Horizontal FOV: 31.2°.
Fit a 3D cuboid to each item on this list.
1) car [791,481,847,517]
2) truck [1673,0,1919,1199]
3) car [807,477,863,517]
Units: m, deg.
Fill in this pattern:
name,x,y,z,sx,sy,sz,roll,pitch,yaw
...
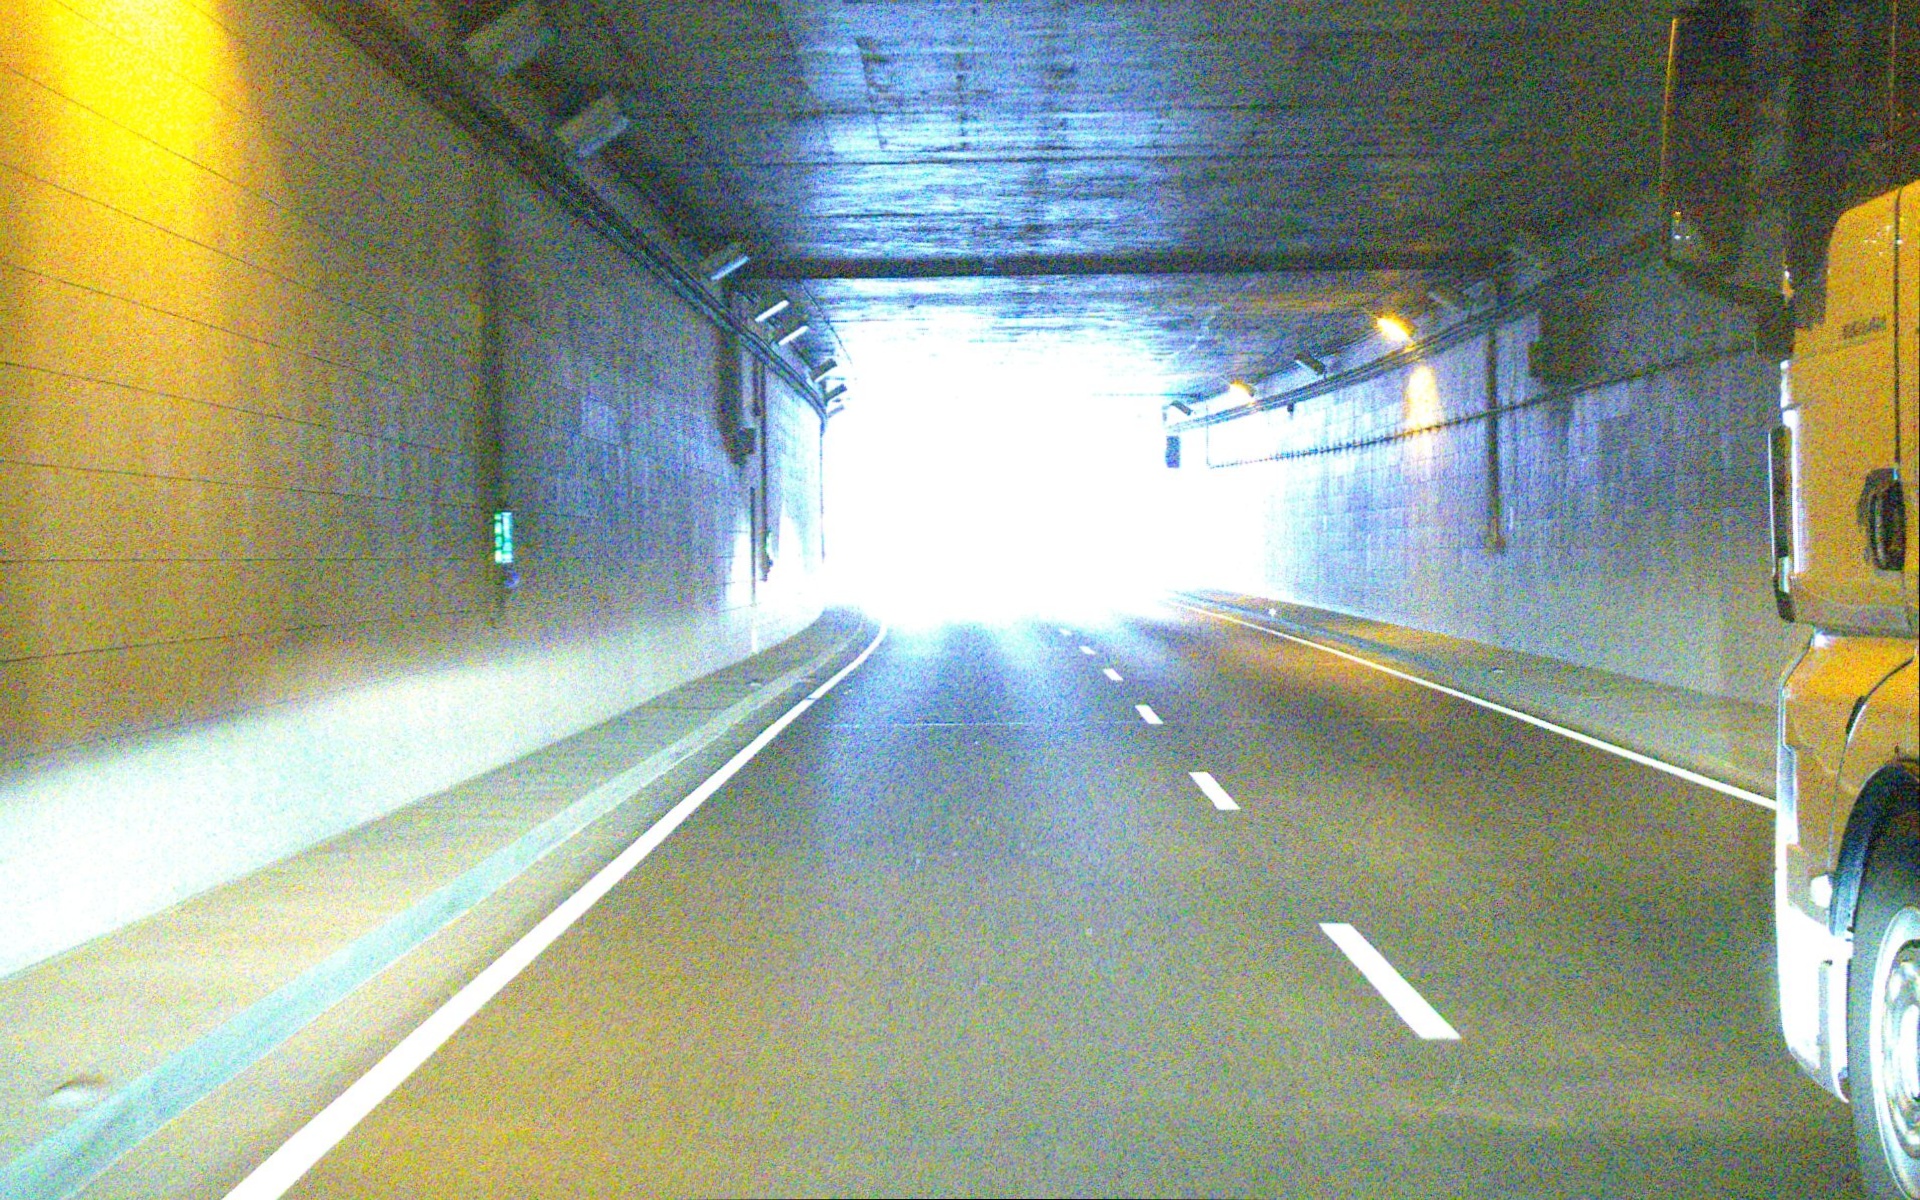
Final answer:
name,x,y,z,sx,sy,sz,roll,pitch,yaw
car,-5.871,-4.184,142.513,1.841,1.384,4.001,-1,1,-9
truck,3.177,-0.521,3.376,2.889,3.900,9.909,0,1,0
car,-5.683,-4.658,155.853,1.869,1.726,4.001,-1,1,-12
